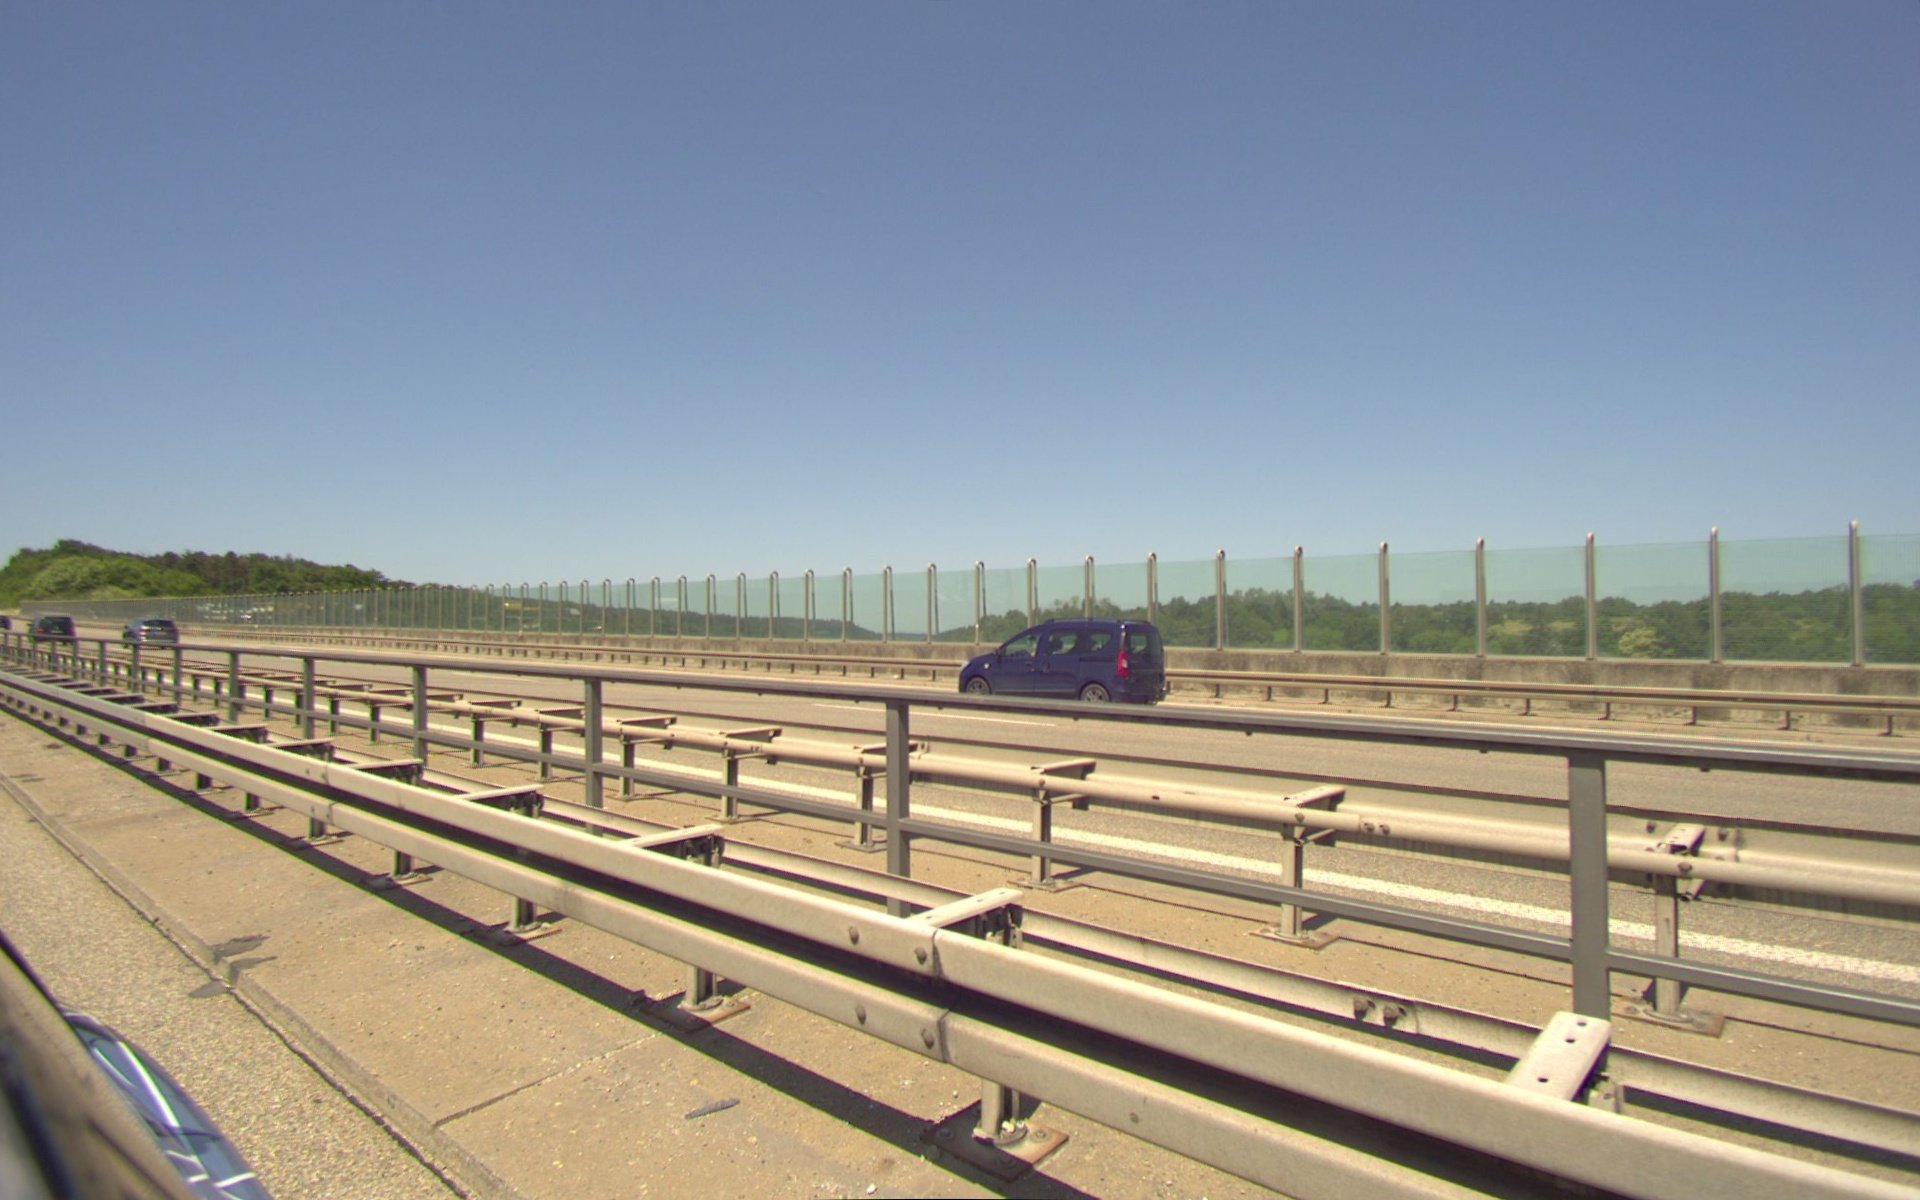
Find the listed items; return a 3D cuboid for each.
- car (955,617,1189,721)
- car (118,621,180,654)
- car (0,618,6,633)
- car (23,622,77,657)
[{"bbox_3d":[2.098,1.268,19.670,4.299,1.798,1.764,-1,-3,41],"label":"car"},{"bbox_3d":[-41.364,1.899,51.606,3.998,1.559,1.736,0,-3,41],"label":"car"},{"bbox_3d":[-104.822,2.779,109.636,4.387,1.581,1.760,-1,-3,43],"label":"car"},{"bbox_3d":[-50.066,2.179,55.660,4.099,1.734,1.736,-4,-2,41],"label":"car"}]
